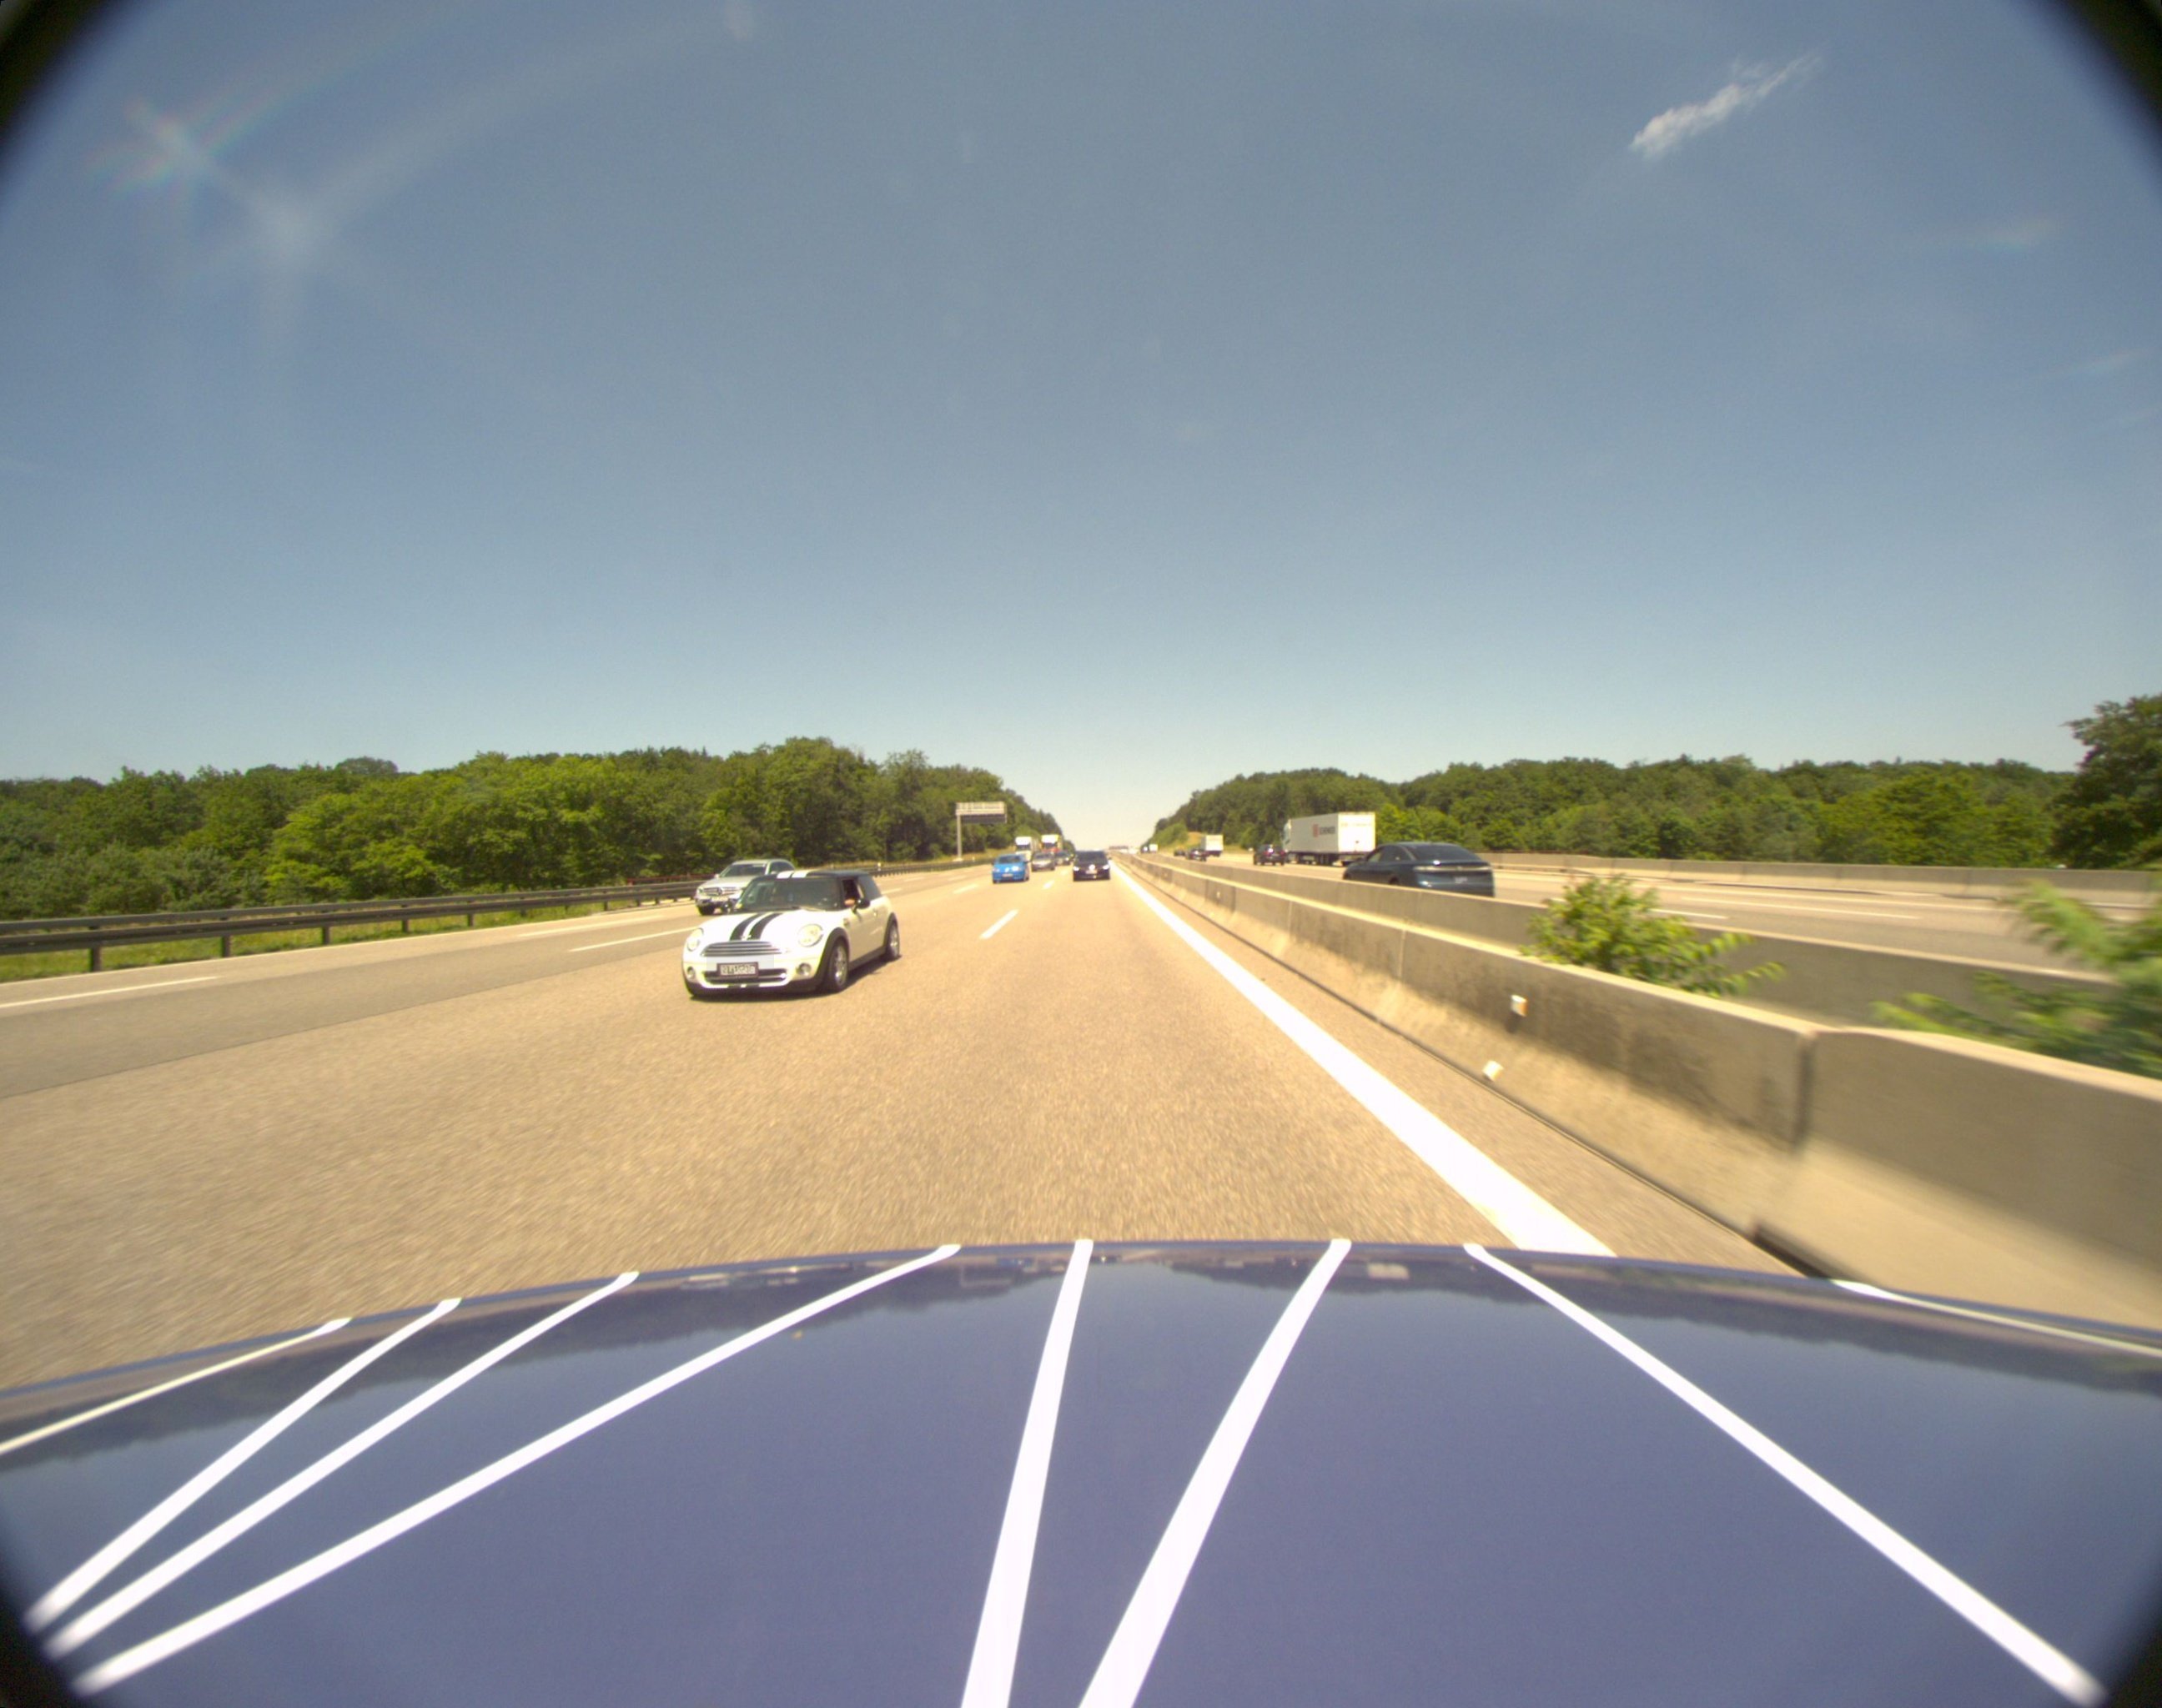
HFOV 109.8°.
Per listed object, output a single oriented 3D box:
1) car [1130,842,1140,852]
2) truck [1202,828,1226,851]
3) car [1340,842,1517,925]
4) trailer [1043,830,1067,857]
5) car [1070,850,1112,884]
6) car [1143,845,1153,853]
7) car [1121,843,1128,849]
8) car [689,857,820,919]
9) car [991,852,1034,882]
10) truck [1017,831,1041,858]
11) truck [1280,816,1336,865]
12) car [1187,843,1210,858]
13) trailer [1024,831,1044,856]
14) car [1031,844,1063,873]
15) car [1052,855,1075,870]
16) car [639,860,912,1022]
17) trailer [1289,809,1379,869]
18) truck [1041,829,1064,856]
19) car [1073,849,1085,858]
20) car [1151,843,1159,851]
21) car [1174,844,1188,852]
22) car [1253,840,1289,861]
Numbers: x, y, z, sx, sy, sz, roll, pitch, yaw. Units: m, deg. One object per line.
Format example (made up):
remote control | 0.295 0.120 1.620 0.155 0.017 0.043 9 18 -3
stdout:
car | 11.449 -1.453 161.029 1.778 1.868 5.211 -3 0 3
truck | 21.524 -2.348 123.565 2.546 3.550 8.576 0 1 1
car | 7.479 0.538 16.965 1.836 1.559 4.785 -1 1 1
trailer | -4.264 -1.603 127.369 2.926 4.118 14.851 -1 -1 2
car | 0.493 0.562 35.525 1.777 1.425 4.143 -3 0 2
car | 15.016 -1.049 170.385 1.998 1.724 4.925 -4 0 1
car | 12.818 -2.347 223.500 1.853 1.515 5.318 0 1 1
car | -10.375 0.994 24.665 1.805 1.721 5.240 -3 0 1
car | -3.529 0.641 39.691 1.741 1.403 4.000 -2 0 2
truck | -8.706 -1.488 128.311 2.728 4.136 10.971 -3 0 2
truck | 19.883 -1.176 67.118 2.722 4.076 7.876 0 1 1
car | 12.565 -0.363 81.752 1.802 1.472 4.720 -2 1 1
trailer | -8.442 -1.814 136.501 2.585 4.046 8.384 -3 0 2
car | -2.600 0.298 59.401 1.966 2.042 4.784 -3 1 2
car | -1.757 0.895 78.848 1.971 1.444 5.226 -2 -1 3
car | -3.616 0.920 9.886 1.846 1.543 3.999 -1 1 1
trailer | 19.791 -1.144 60.805 2.649 4.200 14.360 0 1 1
truck | -4.448 -1.687 120.361 3.018 3.957 7.541 -2 -1 1
car | -0.259 -0.163 138.258 1.910 1.503 4.160 -3 0 3
car | 25.285 -2.406 260.596 2.227 2.644 8.175 0 1 2
car | 17.417 -1.004 132.295 1.802 1.368 4.531 -1 1 1
car | 15.585 -0.295 62.556 1.802 1.633 5.079 -1 1 1
